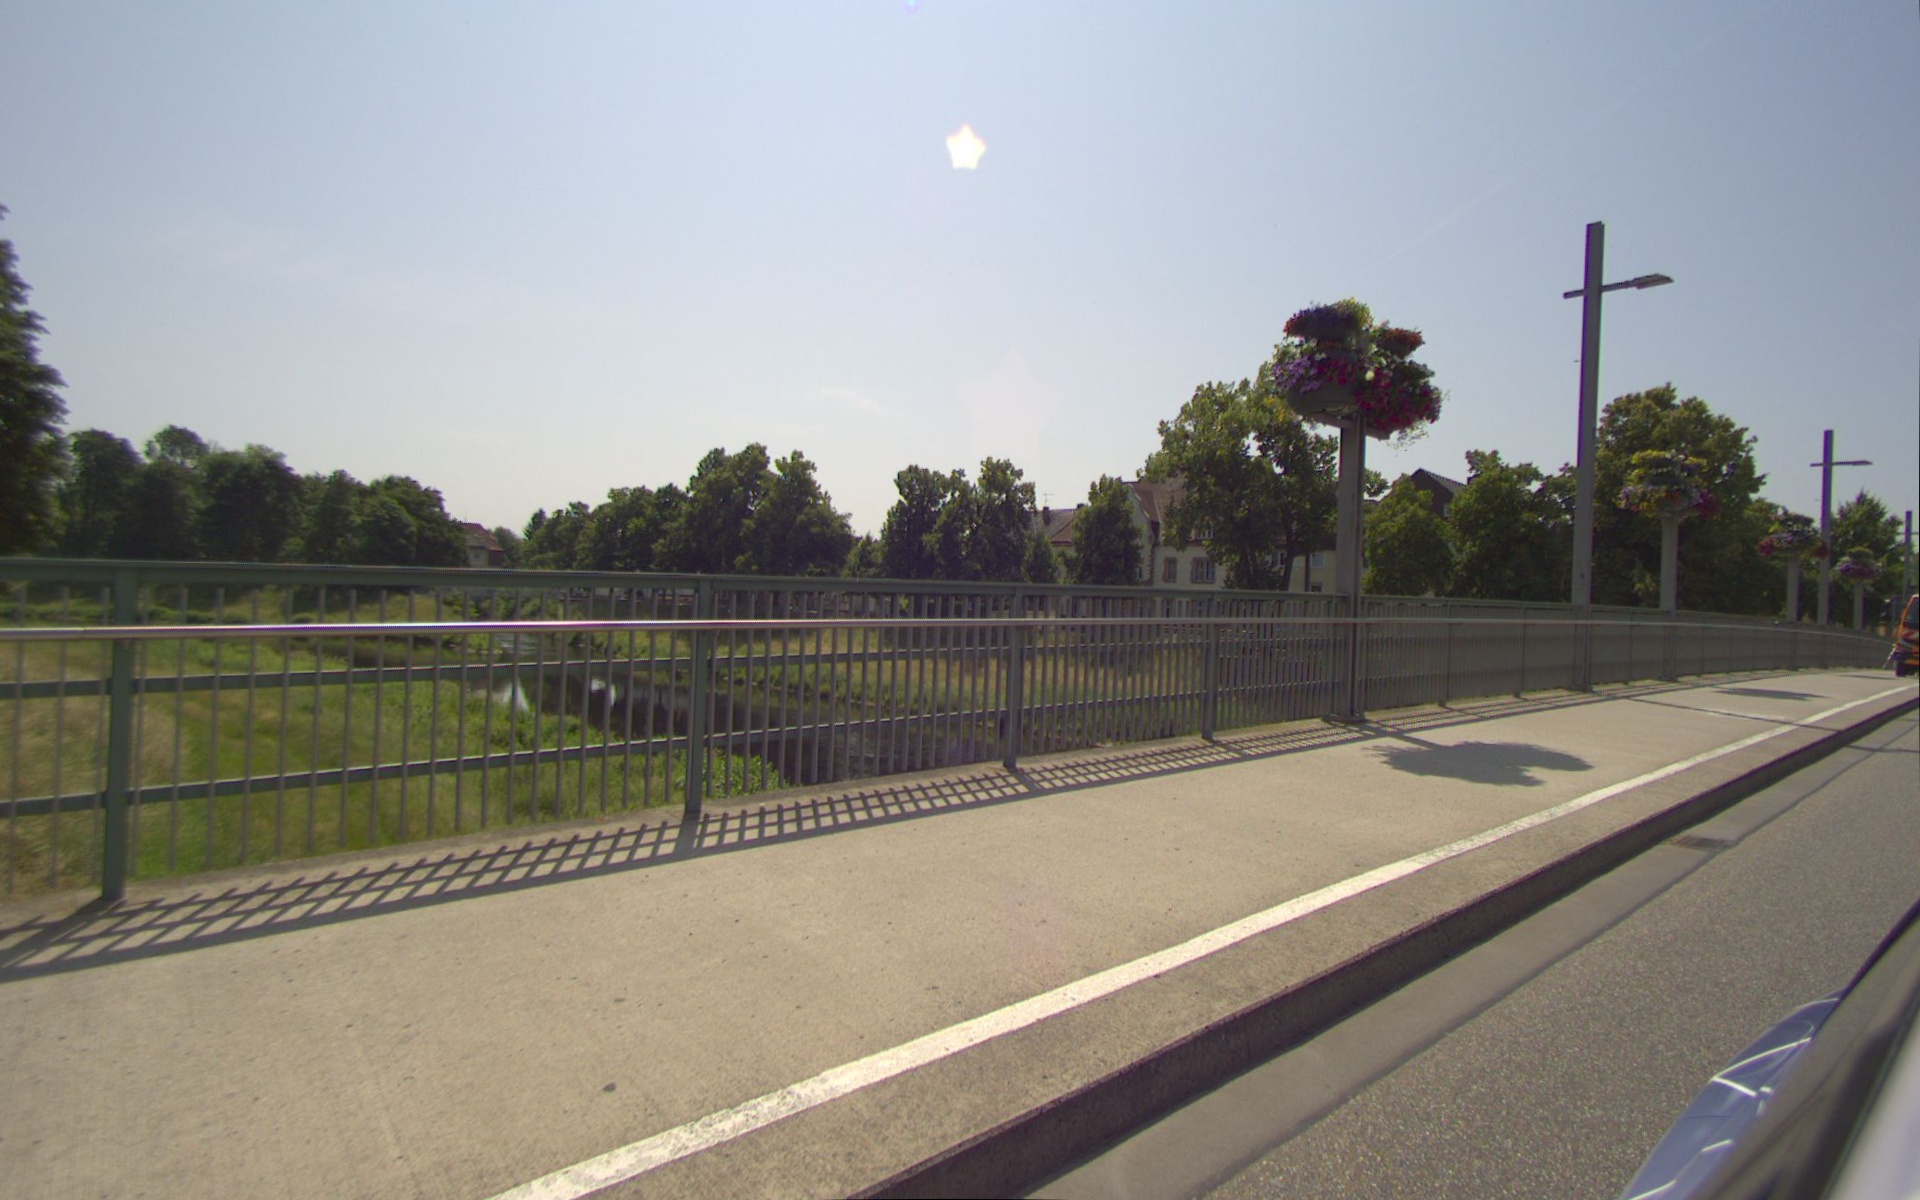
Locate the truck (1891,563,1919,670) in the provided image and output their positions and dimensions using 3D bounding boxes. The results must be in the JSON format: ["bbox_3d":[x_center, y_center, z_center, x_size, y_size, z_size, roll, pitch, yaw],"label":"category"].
[{"bbox_3d":[27.261,0.563,27.213,5.720,2.725,2.611,3,0,-41],"label":"truck"}]
